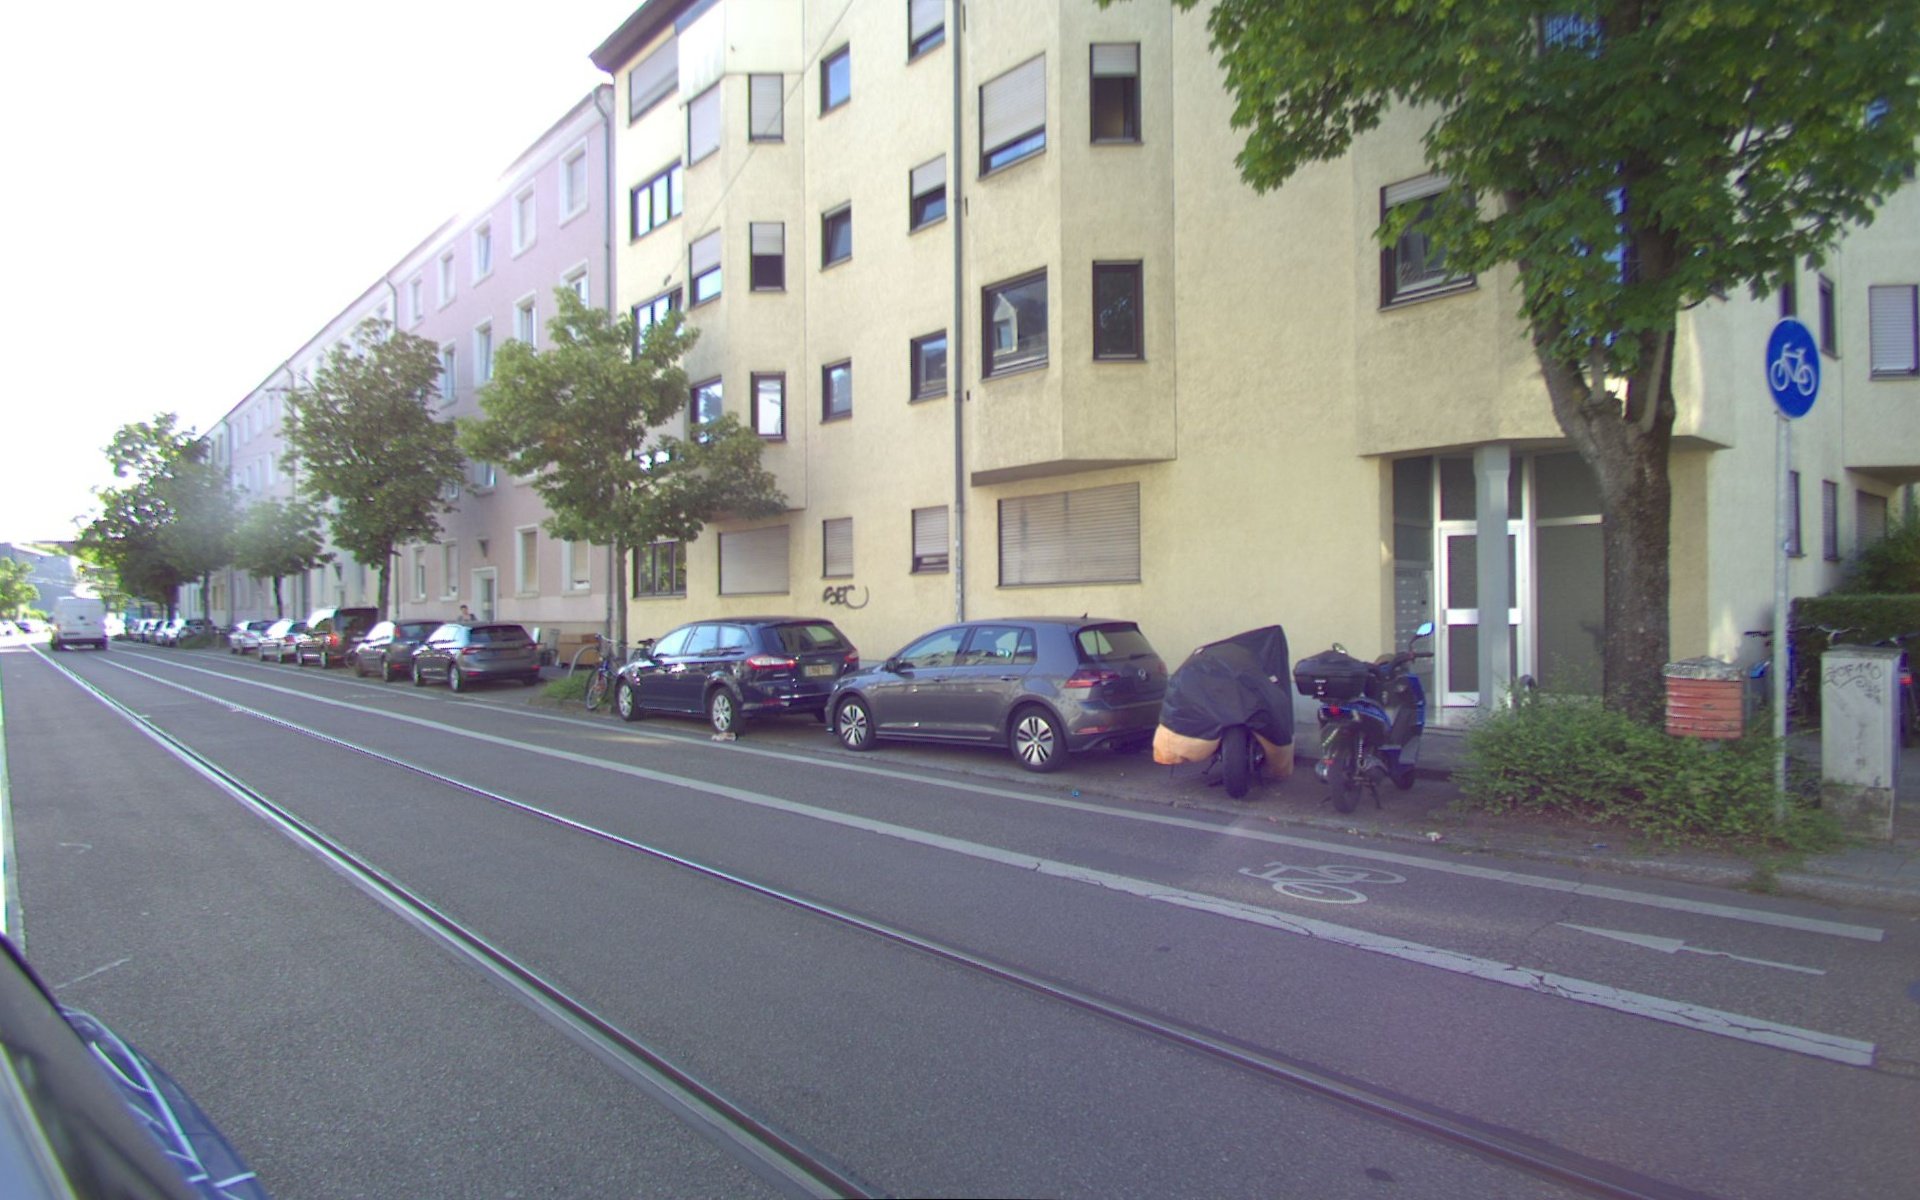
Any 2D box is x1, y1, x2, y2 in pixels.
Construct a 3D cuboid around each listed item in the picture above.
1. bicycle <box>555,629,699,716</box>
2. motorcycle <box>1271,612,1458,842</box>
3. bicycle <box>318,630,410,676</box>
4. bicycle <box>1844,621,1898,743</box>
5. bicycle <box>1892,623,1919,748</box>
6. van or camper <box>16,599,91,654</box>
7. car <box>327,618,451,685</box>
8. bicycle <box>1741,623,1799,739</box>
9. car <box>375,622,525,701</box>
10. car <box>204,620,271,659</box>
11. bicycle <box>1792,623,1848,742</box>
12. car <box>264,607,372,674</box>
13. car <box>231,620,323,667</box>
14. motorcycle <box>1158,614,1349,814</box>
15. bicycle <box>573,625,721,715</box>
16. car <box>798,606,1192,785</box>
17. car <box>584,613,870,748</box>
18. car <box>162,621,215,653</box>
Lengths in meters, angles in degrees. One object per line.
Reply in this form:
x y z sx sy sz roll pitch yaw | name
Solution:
-5.656 1.195 17.301 2.266 1.344 0.700 0 -1 -44 | bicycle
3.034 0.827 7.465 0.720 1.458 1.949 -1 -1 39 | motorcycle
-16.976 1.487 28.863 0.747 1.113 2.088 -2 2 44 | bicycle
8.806 0.756 9.773 0.332 1.054 1.374 -2 0 43 | bicycle
9.044 0.777 9.552 0.332 1.054 1.374 -2 0 43 | bicycle
-46.011 1.318 51.310 6.836 2.572 2.343 -2 -1 44 | van or camper
-14.635 1.256 25.822 1.745 1.484 4.184 -4 1 -43 | car
8.265 0.786 10.309 0.332 1.054 1.374 -2 0 43 | bicycle
-11.304 1.282 22.307 1.745 1.484 4.044 -4 1 -44 | car
-29.870 1.593 41.791 1.743 1.484 4.758 -1 -1 -42 | car
8.551 0.782 10.049 0.332 1.054 1.374 -2 0 43 | bicycle
-19.929 1.220 31.337 4.424 1.859 1.746 -2 1 44 | car
-23.856 1.465 35.272 4.861 1.484 1.745 -2 -1 45 | car
2.501 0.854 8.475 0.835 1.458 1.949 -1 -1 39 | motorcycle
-5.146 1.117 16.777 2.266 1.344 0.700 0 -1 -44 | bicycle
0.221 0.872 10.887 4.129 1.554 1.716 -2 -1 43 | car
-3.414 0.990 14.132 1.744 1.554 4.737 0 -1 -43 | car
-42.378 2.001 55.535 4.048 1.635 1.665 -2 -1 43 | car
